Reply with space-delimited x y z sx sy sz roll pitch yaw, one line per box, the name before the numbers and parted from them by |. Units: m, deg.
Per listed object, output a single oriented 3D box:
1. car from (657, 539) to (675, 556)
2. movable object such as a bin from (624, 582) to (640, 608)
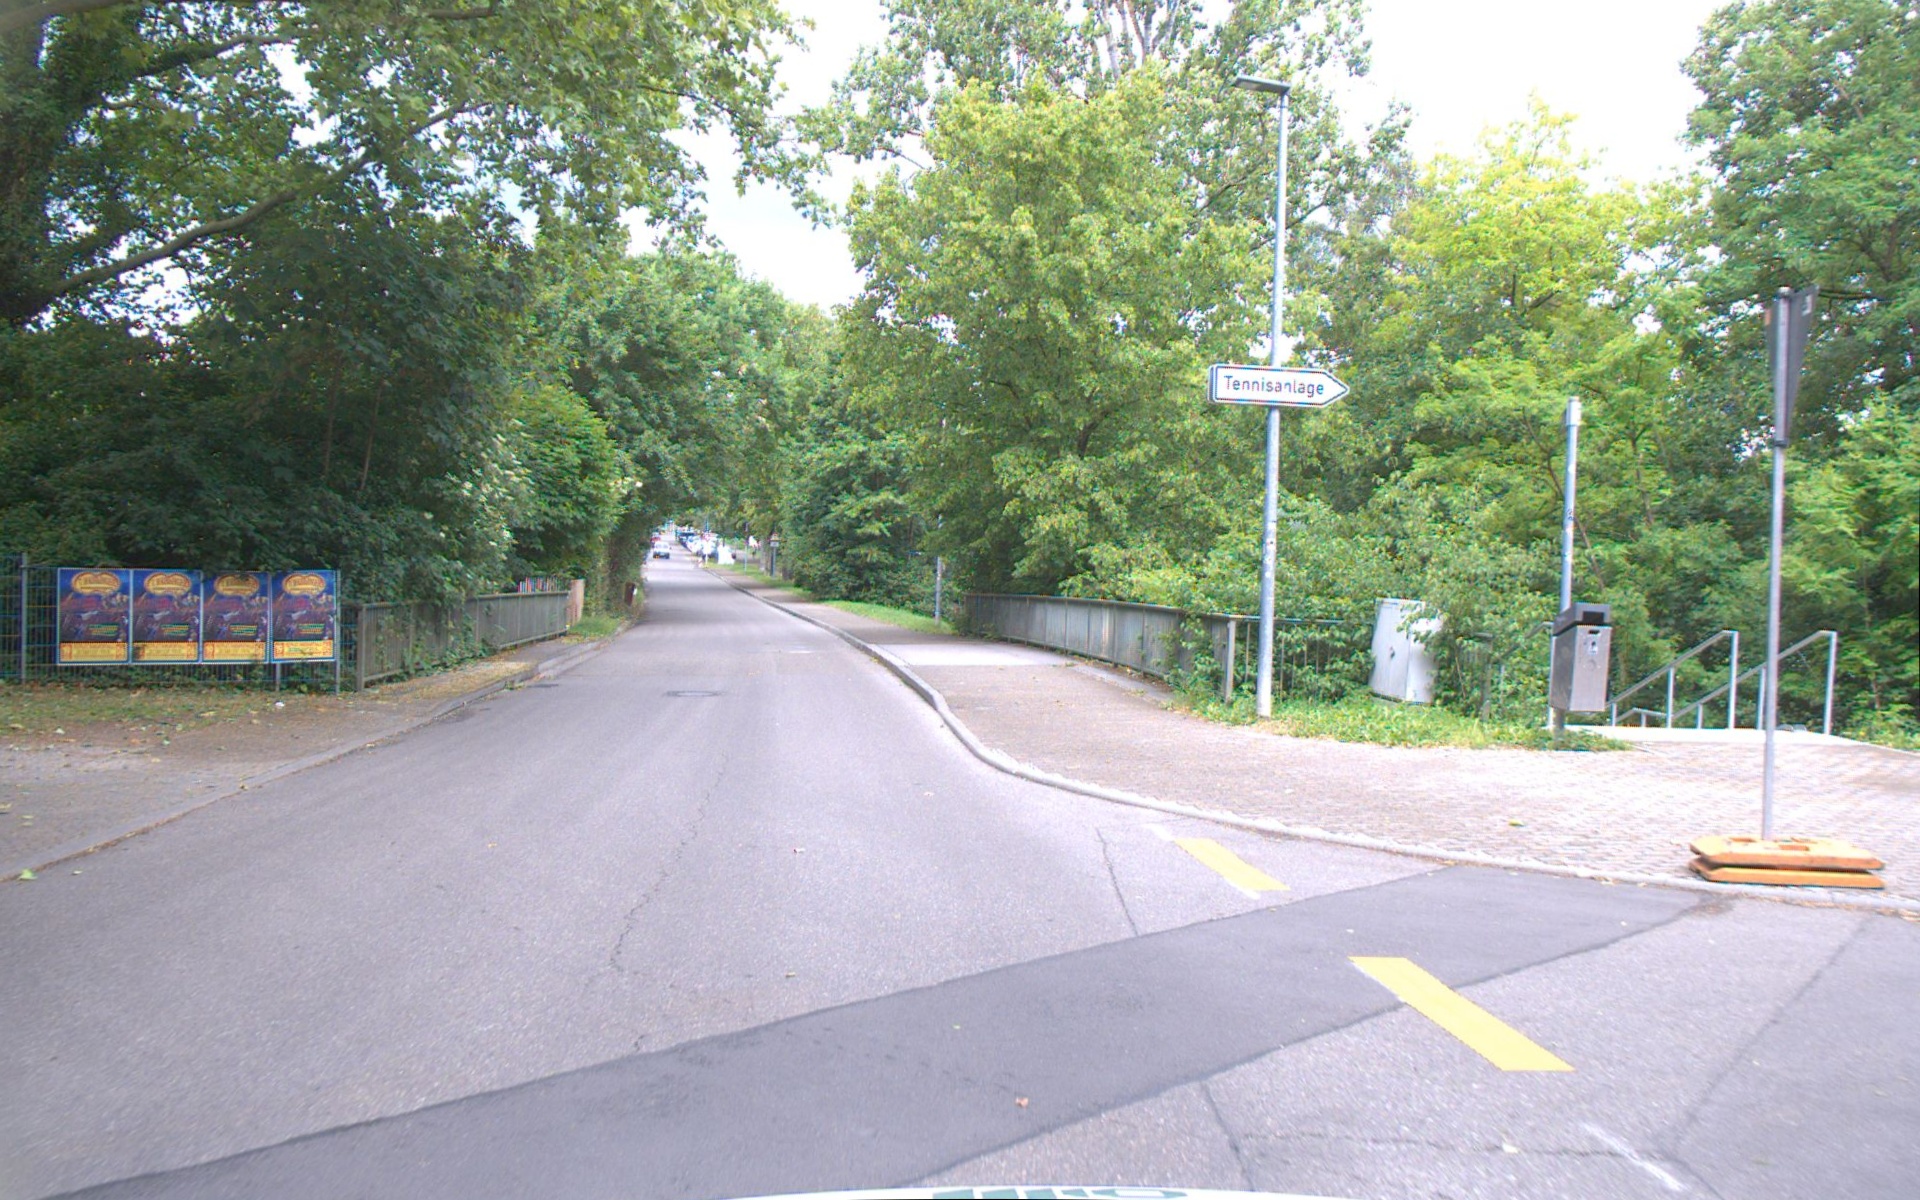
car | -33.016 -5.882 185.762 1.957 1.803 3.991 1 0 -9
movable object such as a bin | -12.448 -0.182 62.770 0.579 0.974 0.469 1 0 -10
